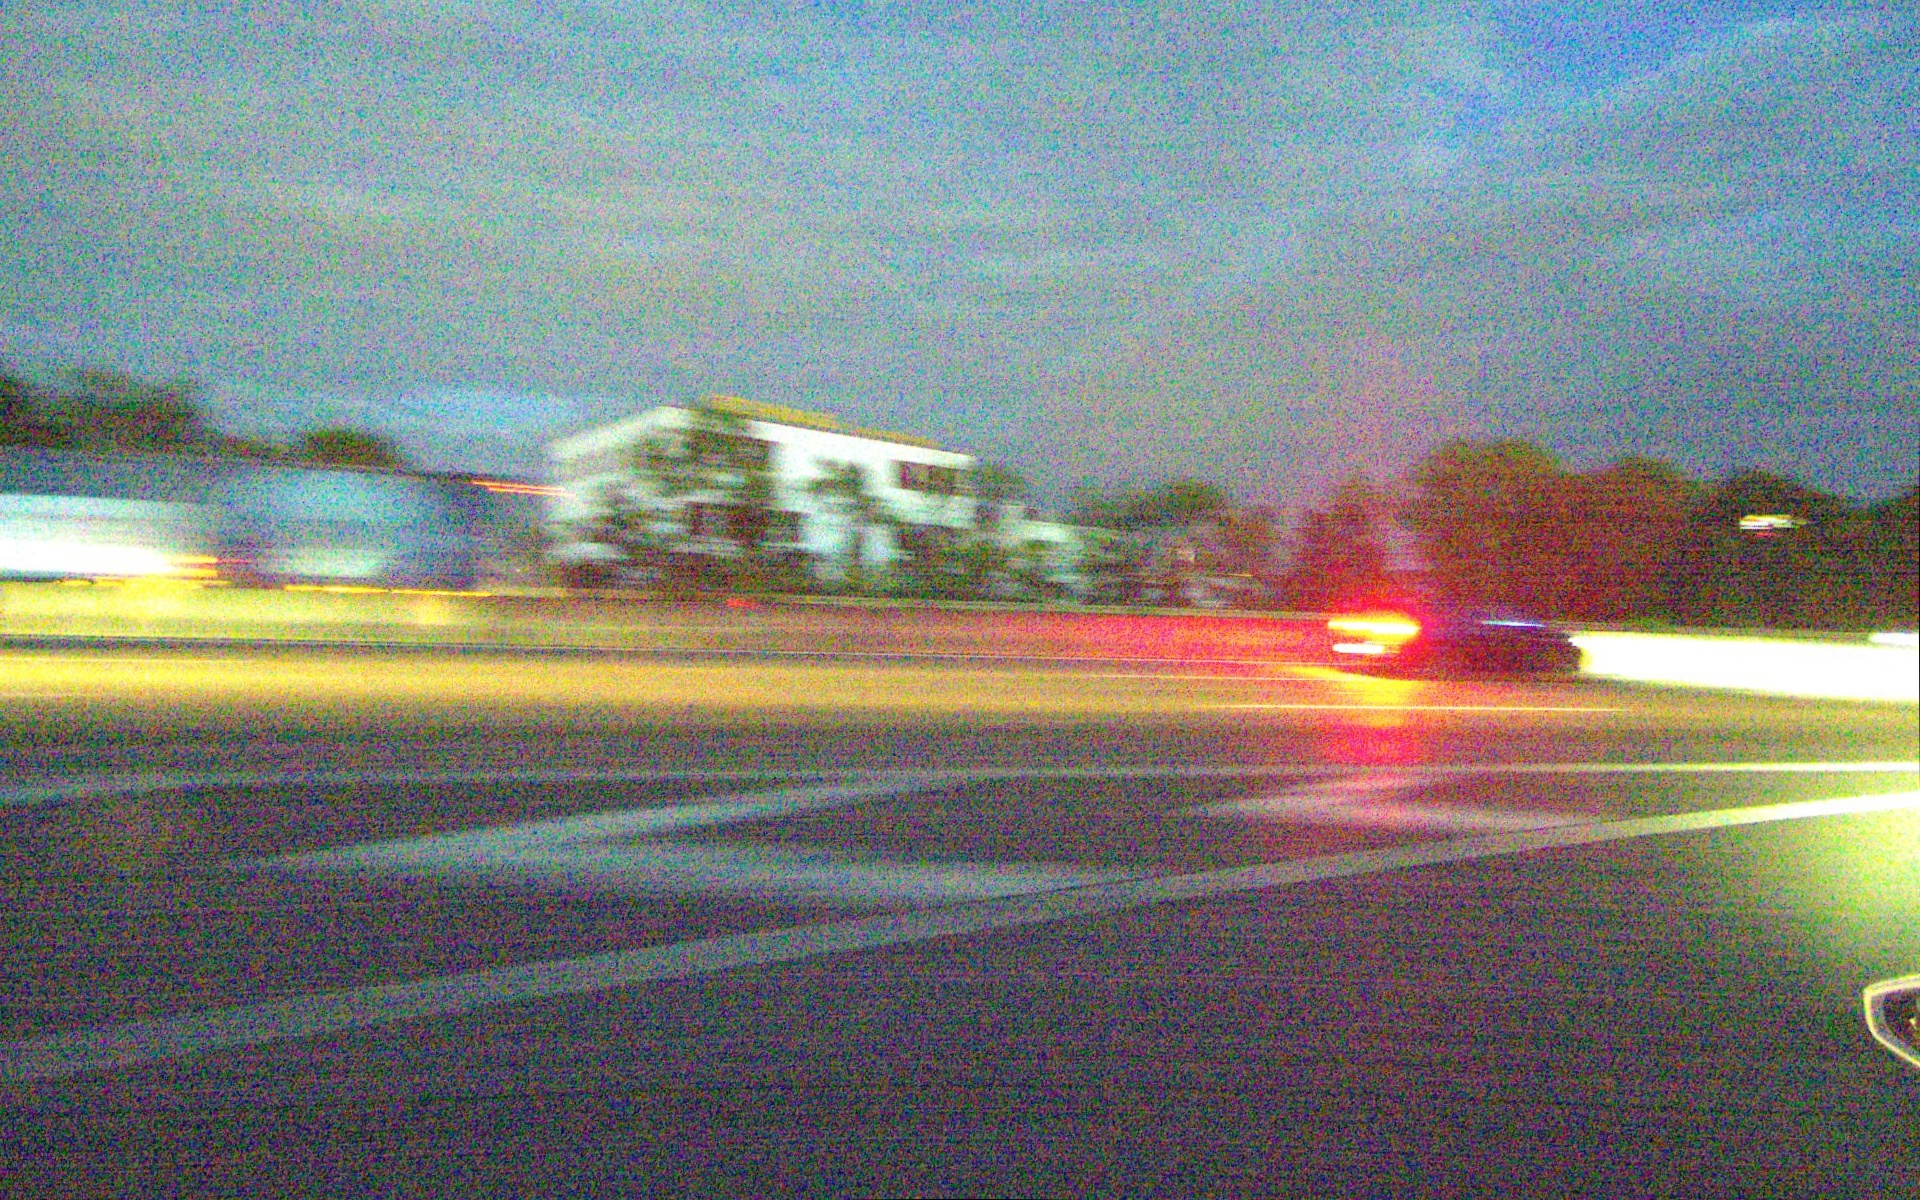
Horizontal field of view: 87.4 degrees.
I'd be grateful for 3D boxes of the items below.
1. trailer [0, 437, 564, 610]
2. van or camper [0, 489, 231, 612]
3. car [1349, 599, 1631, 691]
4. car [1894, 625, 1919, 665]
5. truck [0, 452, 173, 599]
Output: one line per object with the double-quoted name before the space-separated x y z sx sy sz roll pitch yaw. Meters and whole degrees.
"trailer" -18.741 -1.971 28.525 13.525 3.867 2.760 3 1 -13
"van or camper" -21.456 -1.178 23.266 7.063 2.584 1.994 3 1 -15
"car" 9.451 0.788 18.017 4.423 1.419 1.606 2 1 -12
"car" 38.167 1.796 37.966 4.291 1.443 1.996 2 1 -10
"truck" -25.299 -1.988 26.918 5.862 3.643 2.760 2 1 -14
